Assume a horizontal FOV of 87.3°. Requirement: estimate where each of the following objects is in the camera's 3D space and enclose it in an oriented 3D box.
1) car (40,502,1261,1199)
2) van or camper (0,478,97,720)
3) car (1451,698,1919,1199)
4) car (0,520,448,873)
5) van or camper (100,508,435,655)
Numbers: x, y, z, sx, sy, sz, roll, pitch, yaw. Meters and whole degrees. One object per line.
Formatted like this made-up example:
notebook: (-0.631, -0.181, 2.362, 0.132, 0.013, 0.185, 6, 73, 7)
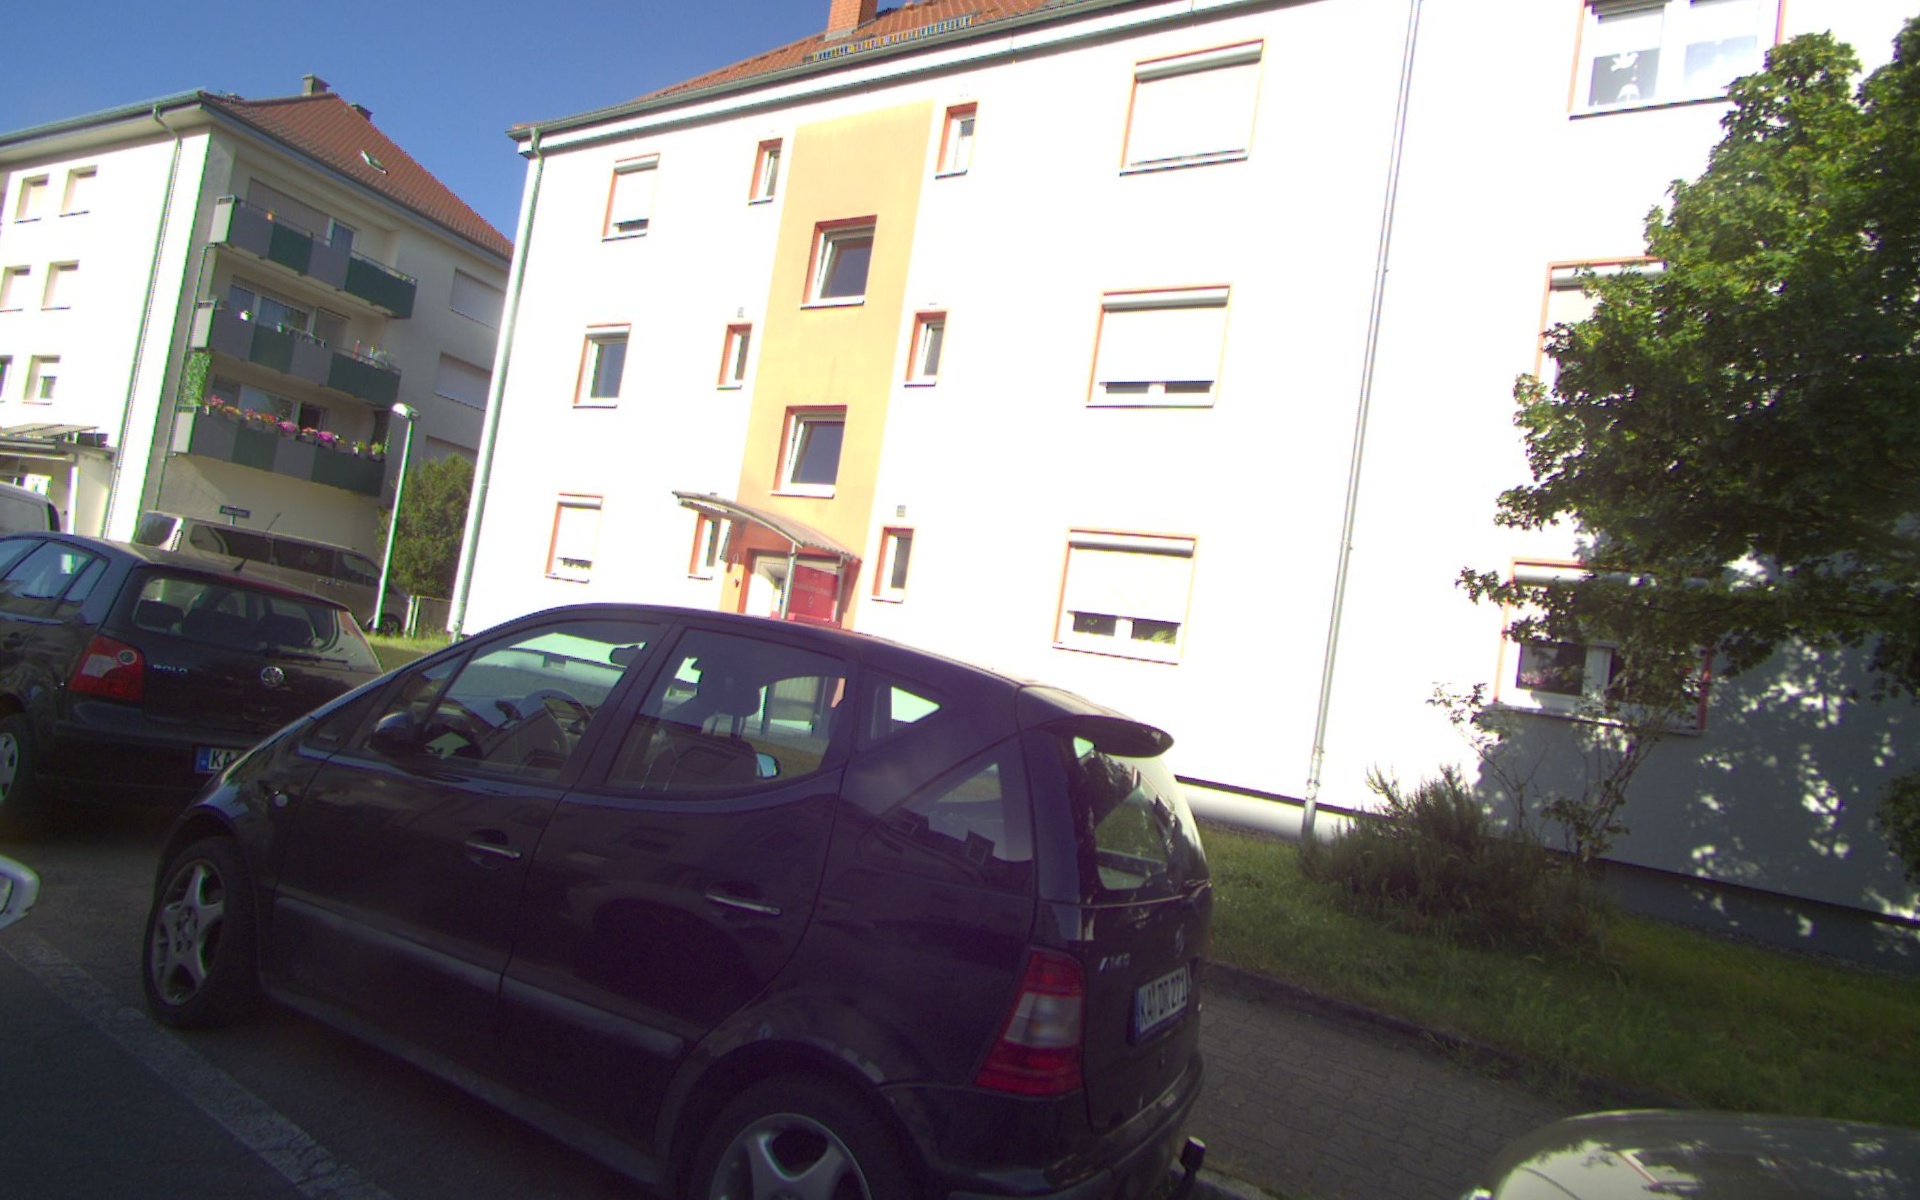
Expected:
car: (-1.048, 0.752, 3.338, 3.547, 1.566, 1.624, 7, -5, 27)
van or camper: (-9.425, -0.336, 8.360, 4.656, 1.762, 1.801, 7, -8, 31)
car: (2.637, 1.229, 0.910, 3.883, 1.463, 1.638, 8, -7, 28)
car: (-4.992, 0.395, 5.860, 3.723, 1.430, 1.581, 7, -7, 29)
van or camper: (-13.989, -0.252, 20.748, 1.966, 2.034, 5.143, 9, -4, 29)
